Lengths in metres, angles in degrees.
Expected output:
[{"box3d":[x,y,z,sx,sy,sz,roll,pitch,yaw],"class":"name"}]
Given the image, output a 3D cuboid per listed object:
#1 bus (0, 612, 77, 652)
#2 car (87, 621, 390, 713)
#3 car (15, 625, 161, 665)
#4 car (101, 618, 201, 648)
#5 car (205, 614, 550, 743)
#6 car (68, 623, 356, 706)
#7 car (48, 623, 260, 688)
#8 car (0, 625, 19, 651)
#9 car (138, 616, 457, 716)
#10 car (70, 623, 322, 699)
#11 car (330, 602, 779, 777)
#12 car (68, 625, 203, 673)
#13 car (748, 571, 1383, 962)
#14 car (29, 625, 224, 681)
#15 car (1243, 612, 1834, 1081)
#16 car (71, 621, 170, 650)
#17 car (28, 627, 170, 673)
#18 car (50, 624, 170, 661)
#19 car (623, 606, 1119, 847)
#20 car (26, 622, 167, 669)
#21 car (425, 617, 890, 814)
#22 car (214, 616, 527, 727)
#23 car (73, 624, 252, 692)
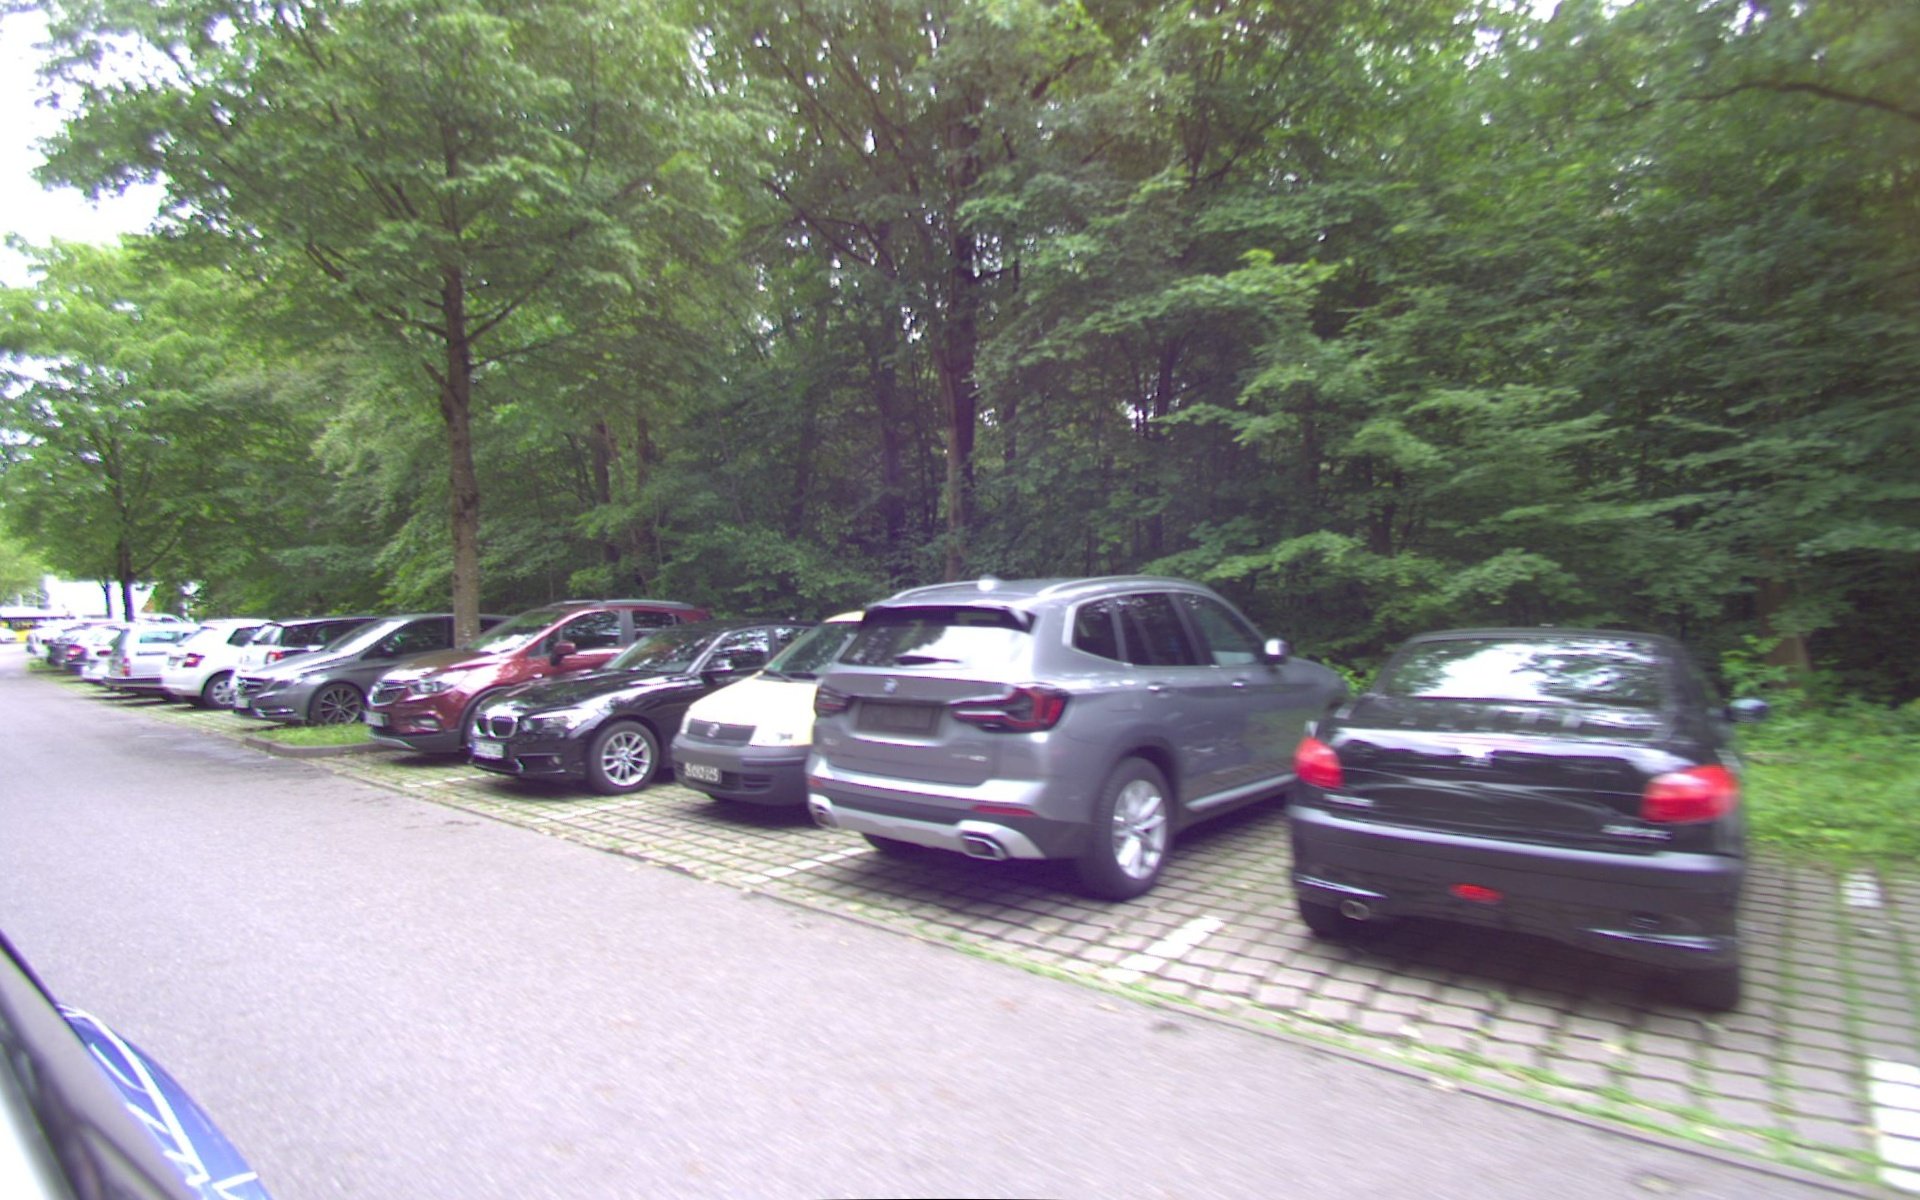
[{"box3d":[-80.841,2.764,86.406,2.803,3.183,7.672,-4,-2,32],"class":"bus"},{"box3d":[-13.872,1.201,19.667,1.869,1.497,4.514,-2,-1,42],"class":"car"},{"box3d":[-36.632,1.852,42.635,4.582,1.489,2.098,0,-1,-41],"class":"car"},{"box3d":[-54.768,2.204,68.651,5.015,1.930,1.984,0,-1,-29],"class":"car"},{"box3d":[-8.400,1.023,14.869,1.918,1.567,3.993,-2,-1,40],"class":"car"},{"box3d":[-15.571,1.260,21.284,2.083,1.458,4.519,-2,-1,38],"class":"car"},{"box3d":[-21.197,1.397,26.708,4.216,1.497,2.059,0,-1,-45],"class":"car"},{"box3d":[-67.260,2.642,68.679,4.456,1.706,2.172,-1,0,-25],"class":"car"},{"box3d":[-11.949,1.100,18.508,1.939,1.497,4.516,-2,0,40],"class":"car"},{"box3d":[-17.433,1.315,23.259,1.890,1.497,4.322,-1,-1,39],"class":"car"},{"box3d":[-4.478,0.854,11.751,1.926,1.596,4.469,-2,-1,40],"class":"car"},{"box3d":[-27.725,1.615,34.085,3.424,1.492,1.685,1,-2,-43],"class":"car"},{"box3d":[0.963,0.693,6.527,2.028,1.645,4.181,-2,0,41],"class":"car"},{"box3d":[-24.799,1.529,30.206,4.353,1.435,2.037,0,-1,-44],"class":"car"},{"box3d":[3.098,0.786,5.171,1.808,1.320,3.941,-2,-1,38],"class":"car"},{"box3d":[-49.977,2.092,60.359,4.296,1.610,2.036,0,-1,-33],"class":"car"},{"box3d":[-29.949,1.696,35.255,3.682,1.430,1.874,0,-1,-43],"class":"car"},{"box3d":[-39.196,1.934,46.768,4.181,1.545,1.765,0,-1,-41],"class":"car"},{"box3d":[-0.536,0.828,8.500,1.798,1.476,3.980,-2,-1,42],"class":"car"},{"box3d":[-33.055,1.712,38.898,3.907,1.640,2.003,0,-1,-34],"class":"car"},{"box3d":[-2.690,0.913,9.710,1.785,1.374,3.947,-2,0,39],"class":"car"},{"box3d":[-9.776,1.086,17.083,1.844,1.562,4.196,-2,-1,36],"class":"car"},{"box3d":[-19.391,1.365,24.686,1.680,1.455,3.185,-2,-1,41],"class":"car"}]
